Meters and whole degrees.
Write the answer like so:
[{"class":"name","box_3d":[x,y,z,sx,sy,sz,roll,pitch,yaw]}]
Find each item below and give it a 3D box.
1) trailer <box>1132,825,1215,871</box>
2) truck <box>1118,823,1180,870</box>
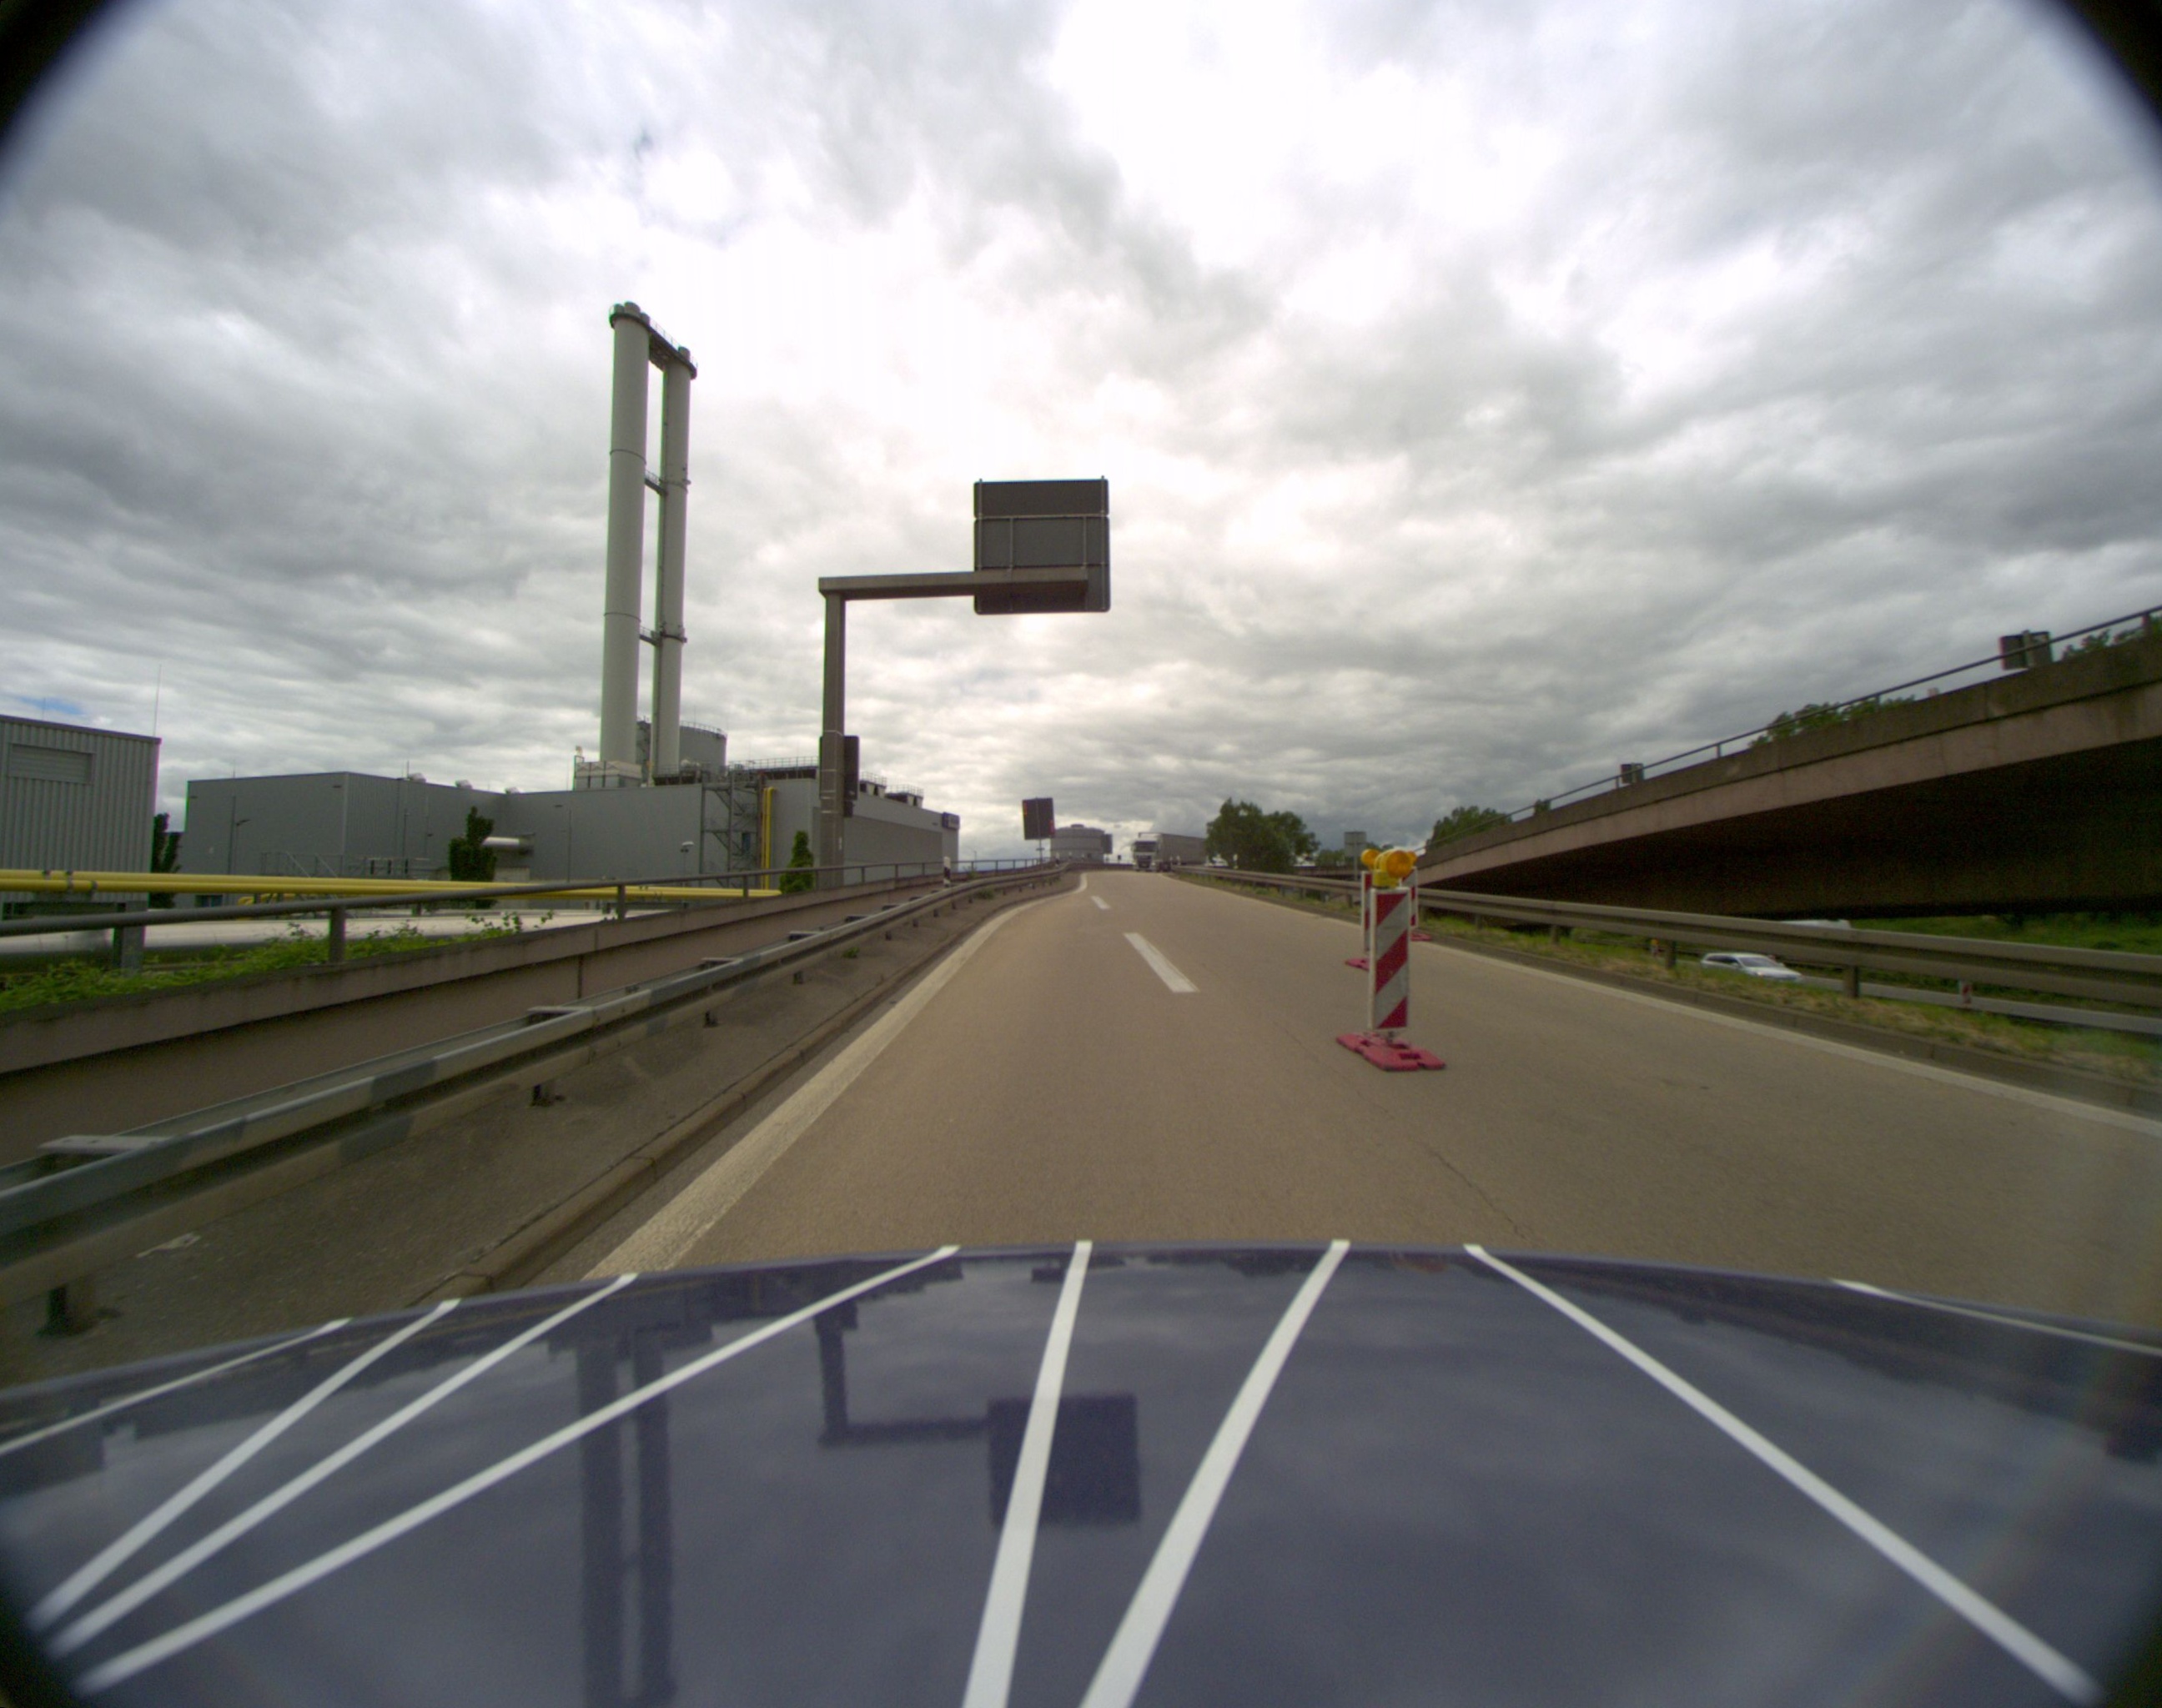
[{"class":"trailer","box_3d":[10.405,-0.435,83.065,4.118,4.217,13.922,-2,-3,28]},{"class":"truck","box_3d":[6.846,-0.662,76.073,4.157,4.276,5.978,-2,-3,28]}]
